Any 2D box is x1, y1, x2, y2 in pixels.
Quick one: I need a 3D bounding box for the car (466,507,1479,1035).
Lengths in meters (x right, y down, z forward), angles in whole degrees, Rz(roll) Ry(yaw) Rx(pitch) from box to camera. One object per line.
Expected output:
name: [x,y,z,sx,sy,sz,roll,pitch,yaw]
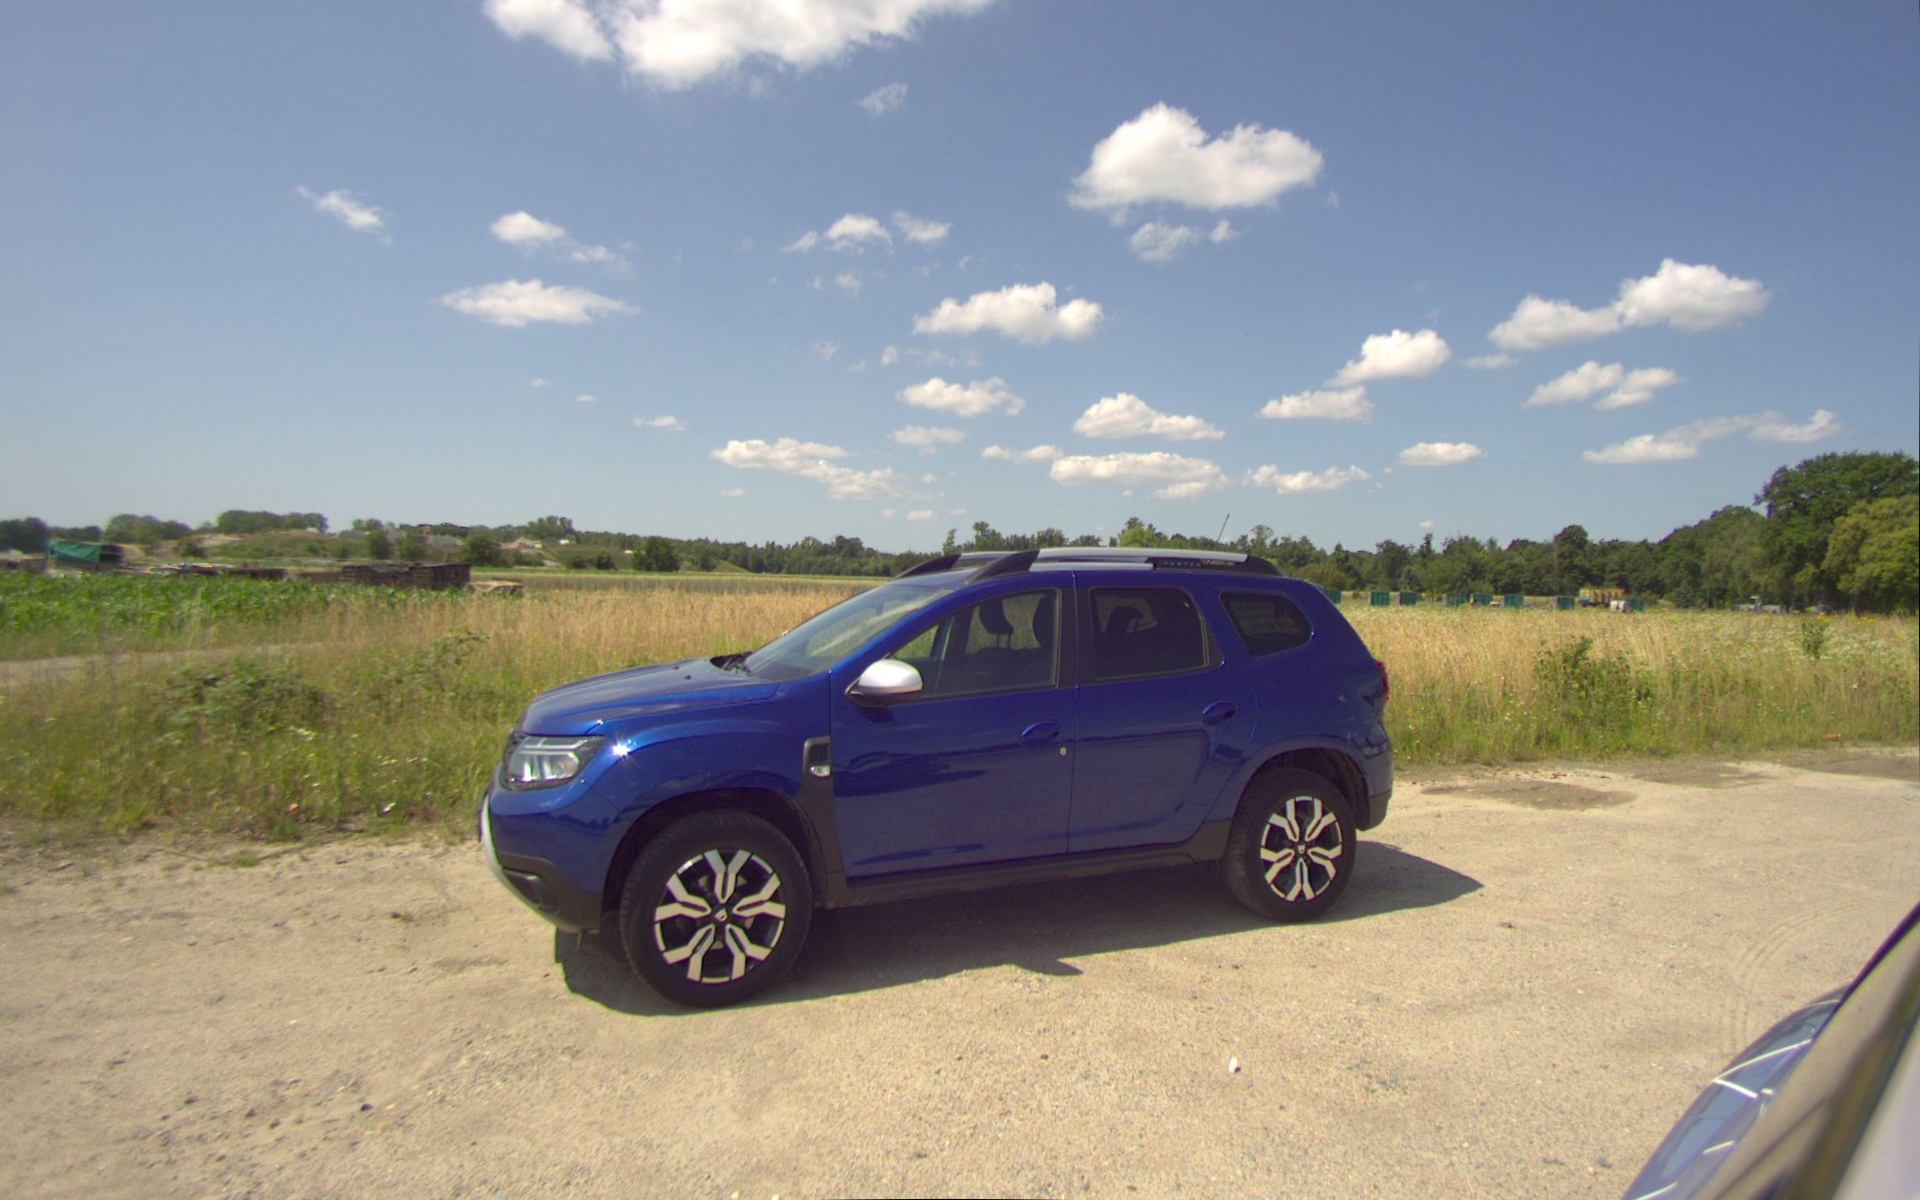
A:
car: [0.111,0.532,4.903,4.365,1.682,1.868,0,1,-22]
